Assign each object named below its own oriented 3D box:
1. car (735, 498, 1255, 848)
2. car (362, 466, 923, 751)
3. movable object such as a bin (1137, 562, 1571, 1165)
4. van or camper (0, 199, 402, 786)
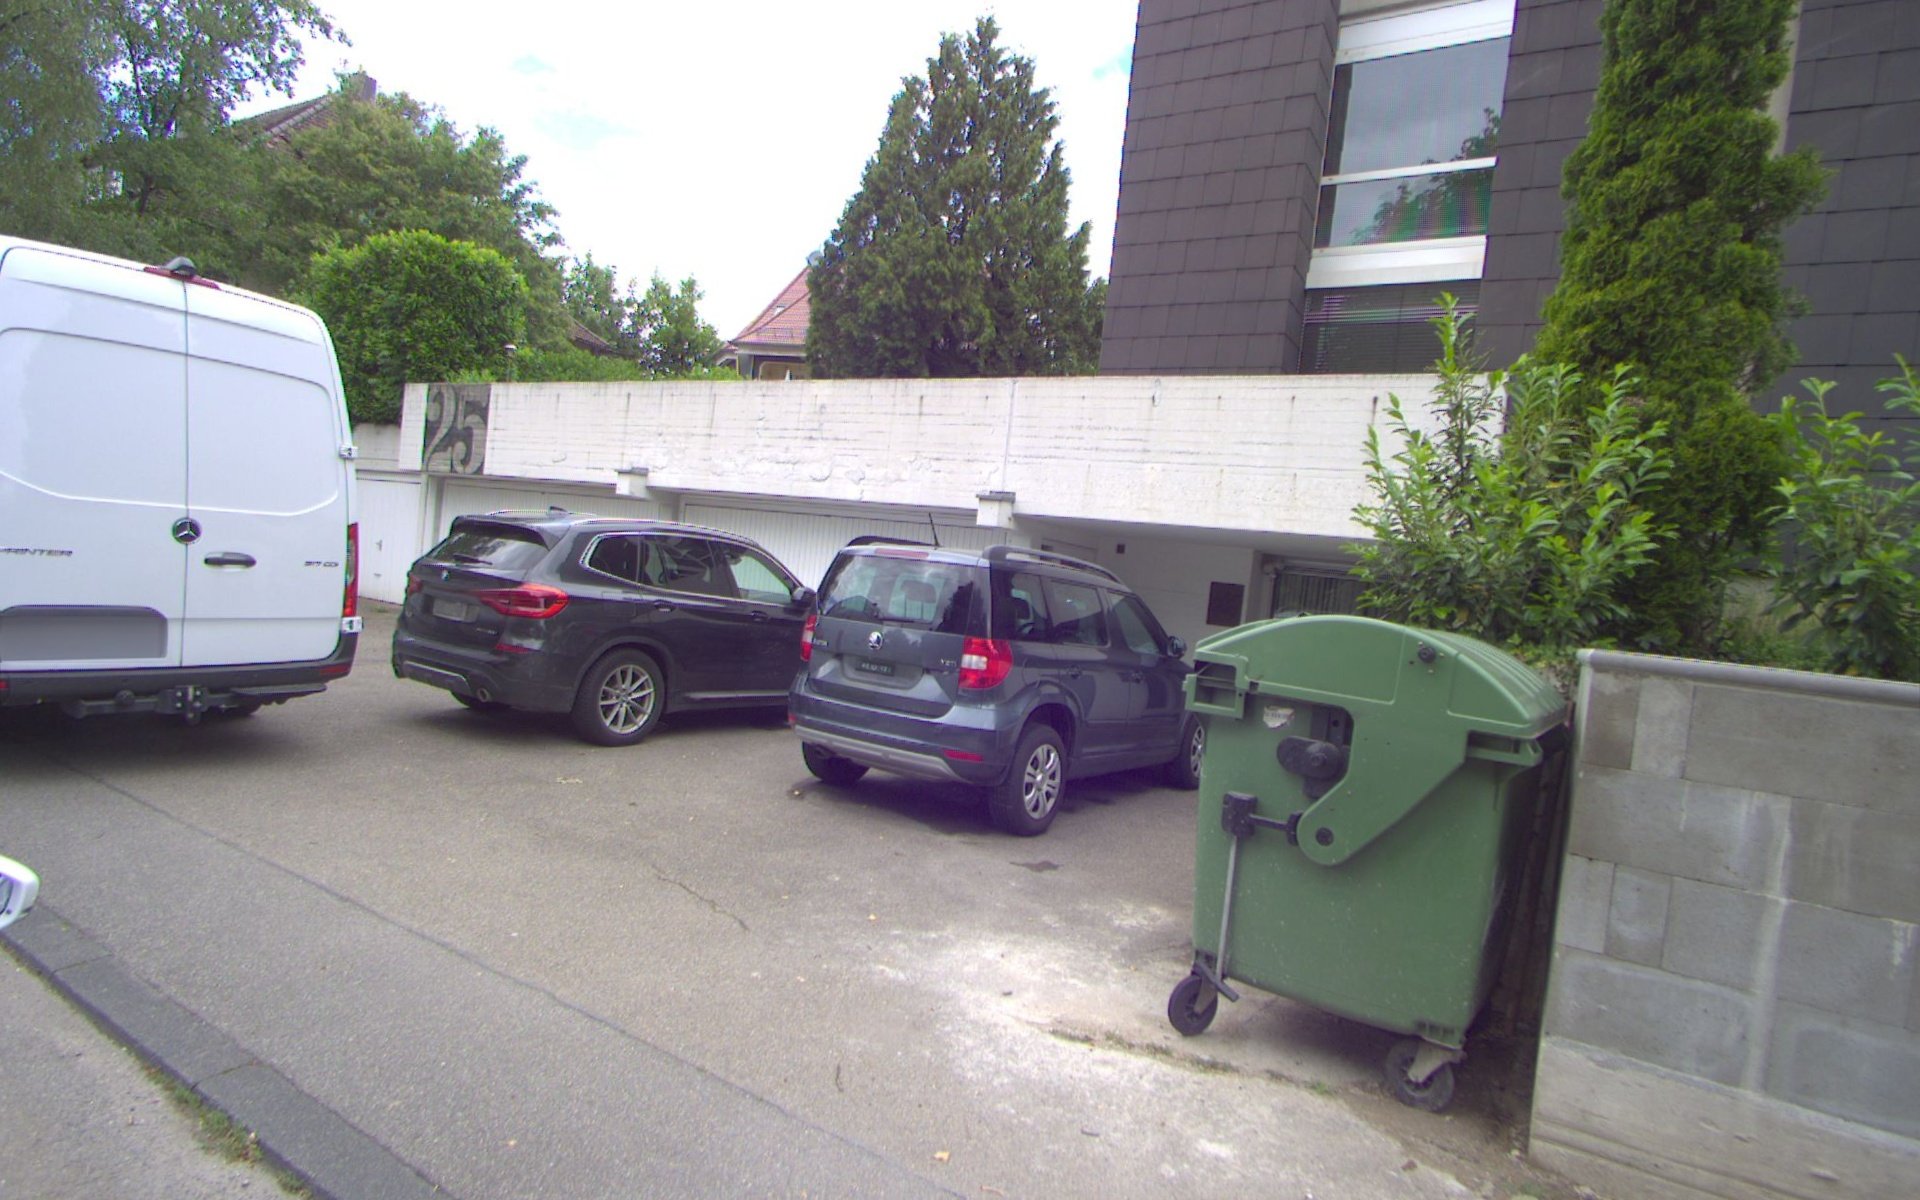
[{"bbox_3d":[0.536,0.453,7.397,1.804,1.772,3.973,7,1,35],"label":"car"},{"bbox_3d":[-2.359,0.123,8.678,1.710,1.772,4.419,7,1,33],"label":"car"},{"bbox_3d":[1.355,0.726,3.391,1.016,1.550,1.034,7,1,33],"label":"movable object such as a bin"},{"bbox_3d":[-6.703,-0.736,6.901,6.432,2.653,1.995,7,1,32],"label":"van or camper"}]
